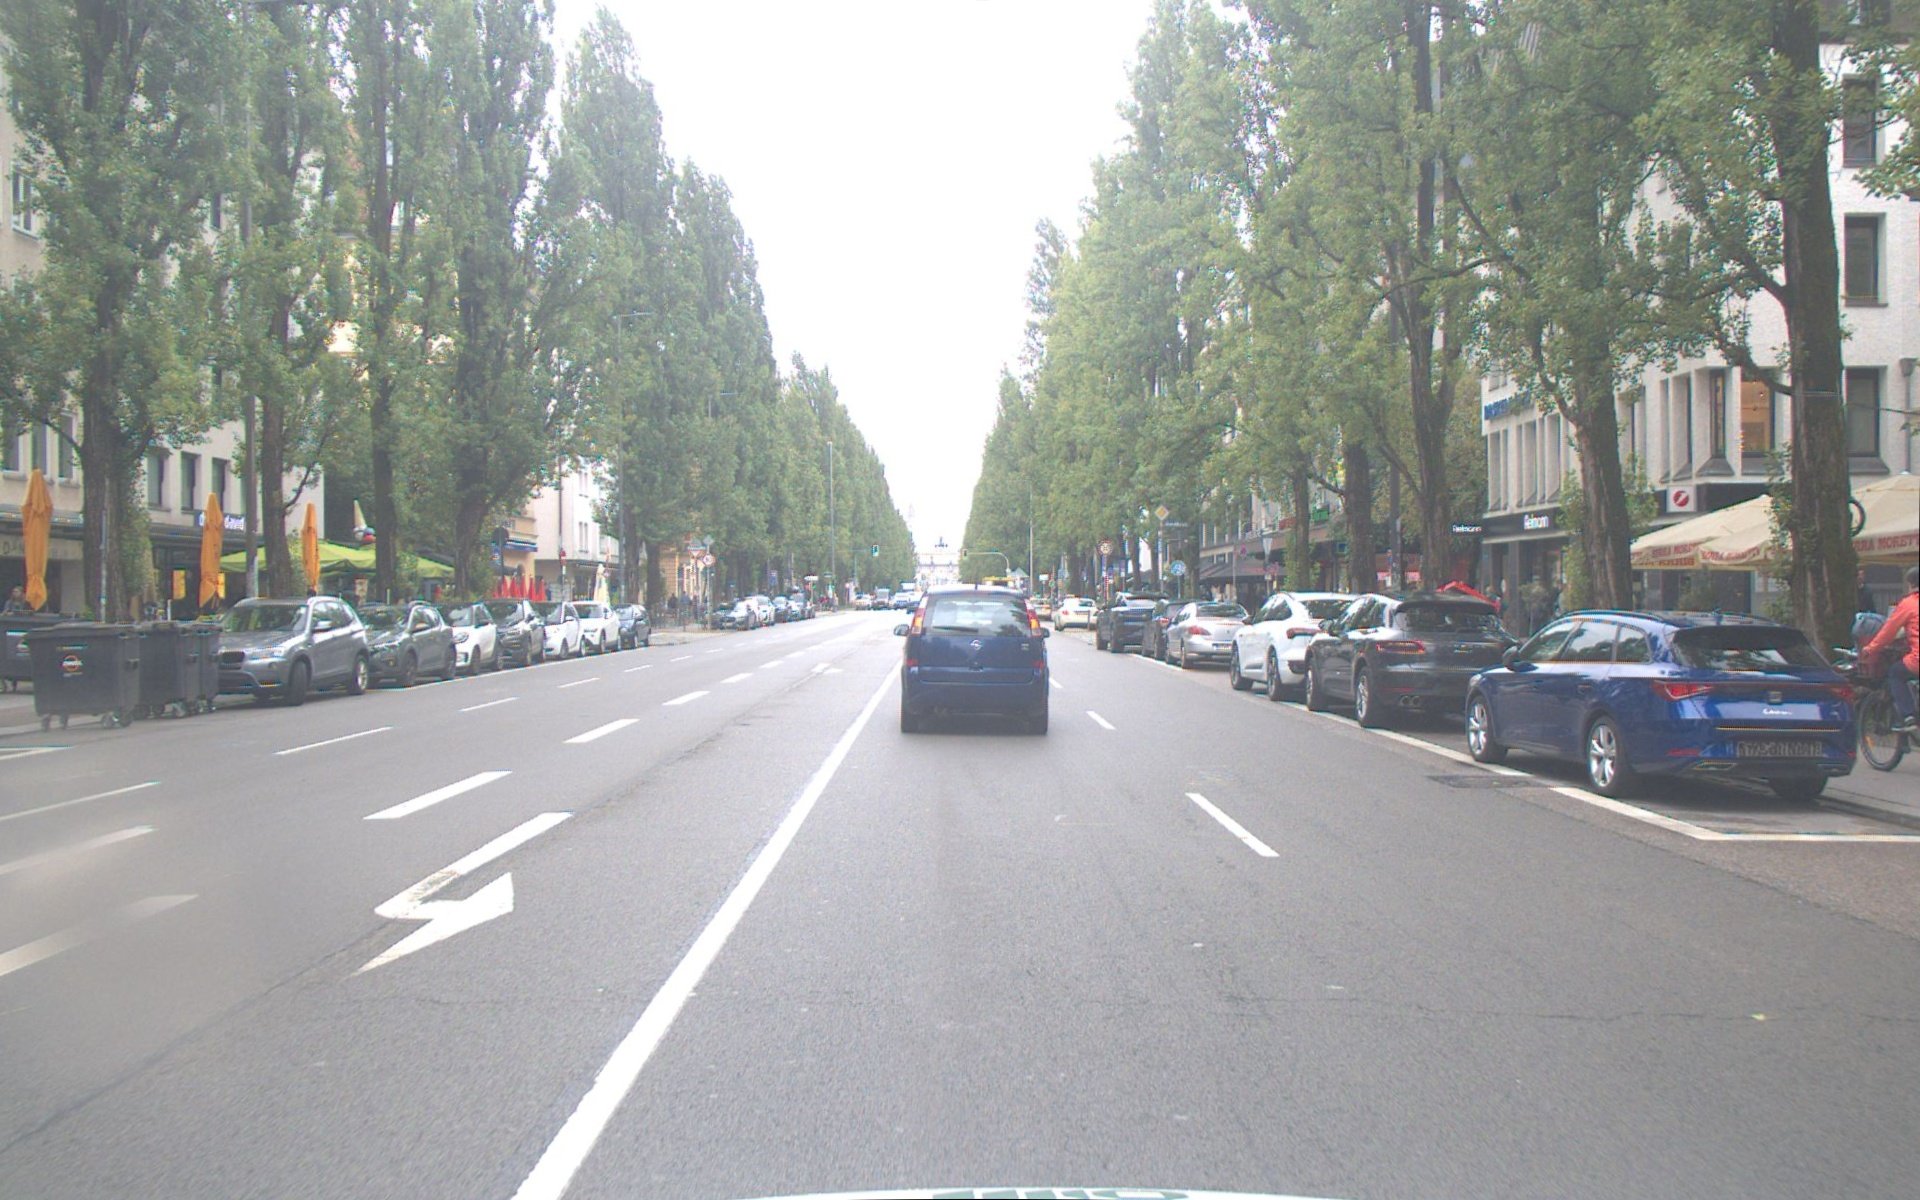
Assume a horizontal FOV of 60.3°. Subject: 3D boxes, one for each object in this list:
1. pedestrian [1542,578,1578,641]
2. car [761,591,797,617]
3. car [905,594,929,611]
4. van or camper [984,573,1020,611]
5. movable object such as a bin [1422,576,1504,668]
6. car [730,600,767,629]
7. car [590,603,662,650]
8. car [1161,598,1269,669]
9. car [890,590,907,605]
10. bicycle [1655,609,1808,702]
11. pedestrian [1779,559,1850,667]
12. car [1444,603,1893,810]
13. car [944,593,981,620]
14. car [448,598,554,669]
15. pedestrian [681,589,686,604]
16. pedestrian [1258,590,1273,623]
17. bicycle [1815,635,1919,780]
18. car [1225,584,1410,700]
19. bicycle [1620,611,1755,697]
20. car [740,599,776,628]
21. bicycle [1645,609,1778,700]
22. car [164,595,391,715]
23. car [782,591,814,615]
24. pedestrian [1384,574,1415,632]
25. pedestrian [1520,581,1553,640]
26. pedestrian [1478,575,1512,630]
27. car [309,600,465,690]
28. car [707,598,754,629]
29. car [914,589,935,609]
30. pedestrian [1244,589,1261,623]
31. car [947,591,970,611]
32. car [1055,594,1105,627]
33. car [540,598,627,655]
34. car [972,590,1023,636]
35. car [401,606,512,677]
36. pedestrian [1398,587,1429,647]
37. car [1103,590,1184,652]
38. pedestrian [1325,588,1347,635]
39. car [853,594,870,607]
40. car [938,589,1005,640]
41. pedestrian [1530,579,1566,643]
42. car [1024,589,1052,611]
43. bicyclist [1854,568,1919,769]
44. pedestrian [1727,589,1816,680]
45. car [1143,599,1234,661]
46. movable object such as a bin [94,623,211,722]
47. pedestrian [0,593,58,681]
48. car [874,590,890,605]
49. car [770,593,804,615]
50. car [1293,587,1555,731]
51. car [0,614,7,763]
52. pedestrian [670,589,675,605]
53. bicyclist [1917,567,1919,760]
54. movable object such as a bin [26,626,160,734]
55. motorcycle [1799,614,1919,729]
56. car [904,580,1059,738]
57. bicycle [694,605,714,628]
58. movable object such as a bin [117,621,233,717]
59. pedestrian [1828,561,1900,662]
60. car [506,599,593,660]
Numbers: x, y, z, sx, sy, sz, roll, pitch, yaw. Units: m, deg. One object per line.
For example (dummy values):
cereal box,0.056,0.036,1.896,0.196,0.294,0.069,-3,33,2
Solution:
pedestrian,16.026,0.258,44.186,0.640,1.655,0.704,-1,0,-4
car,-11.419,0.243,104.344,1.922,1.557,3.998,-1,0,-2
car,-3.647,0.197,140.844,1.922,1.424,3.778,-1,0,-1
van or camper,2.988,-0.556,118.782,2.426,2.626,5.843,-1,0,0
movable object such as a bin,9.849,0.416,32.464,1.012,1.733,1.585,-1,0,-4
car,-11.177,0.750,87.601,1.515,1.478,3.457,-1,0,-1
car,-10.903,0.841,54.150,1.553,1.472,3.391,-1,0,2
car,5.555,0.701,36.478,1.636,1.431,4.126,1,0,-1
car,-6.847,-0.275,184.869,1.798,1.706,3.778,-1,0,-1
bicycle,10.381,0.737,22.271,1.833,1.213,0.575,-1,0,-6
pedestrian,14.741,0.217,28.549,0.714,1.834,0.931,-1,0,0
car,5.751,0.766,14.116,1.715,1.430,4.461,-1,0,-3
car,0.118,0.370,95.192,1.953,1.524,3.999,-1,0,-2
car,-11.162,0.775,40.438,1.805,1.592,4.174,-1,0,-6
pedestrian,-19.440,-0.246,116.466,0.283,1.109,0.258,-1,0,5
pedestrian,14.473,0.295,78.384,0.627,1.553,0.484,-1,0,-1
bicycle,7.926,0.877,13.545,0.614,1.106,2.263,-1,0,-1
car,5.523,0.600,26.161,1.790,1.649,4.746,1,0,-1
bicycle,10.216,0.755,23.231,1.794,1.159,0.370,-1,0,-7
car,-11.298,0.744,92.529,1.620,1.589,3.457,-1,0,-1
bicycle,10.357,0.738,22.793,1.678,1.213,0.420,-1,0,-6
car,-10.986,0.814,27.016,1.827,1.683,4.614,-3,0,-2
car,-11.842,0.193,121.129,1.953,1.691,3.999,-1,0,-1
pedestrian,14.102,0.089,53.081,0.777,1.843,0.682,-1,0,-3
pedestrian,16.351,0.284,46.939,0.640,1.655,0.704,-1,0,-4
pedestrian,16.245,0.067,50.233,0.721,1.655,0.765,1,0,-4
car,-10.930,0.818,31.840,1.663,1.577,4.081,-1,0,-2
car,-11.283,0.659,81.516,1.793,1.445,3.810,-1,0,-1
car,-3.250,-0.092,151.543,1.798,1.792,3.778,-1,0,-1
pedestrian,13.175,0.271,74.506,0.627,1.553,0.484,-1,0,-1
car,-0.182,0.042,145.835,1.922,1.706,3.778,-1,0,-1
car,5.306,0.431,73.538,1.858,1.386,3.899,-1,0,0
car,-11.061,0.758,48.840,1.798,1.573,4.084,-1,0,-3
car,1.332,0.456,60.660,1.671,1.601,3.999,-1,0,-1
car,-11.071,0.889,36.521,1.598,1.453,2.982,-1,0,-2
pedestrian,12.325,0.457,44.970,0.640,1.629,0.704,1,0,0
car,5.115,0.557,46.511,1.761,1.621,4.104,1,0,0
pedestrian,14.307,0.434,62.964,0.640,1.781,0.859,1,0,0
car,-11.980,0.081,201.263,1.922,1.576,3.778,-1,0,-1
car,0.323,0.420,51.594,1.953,1.523,3.999,-1,0,-2
pedestrian,15.304,0.289,43.044,0.640,1.655,0.704,-1,0,-4
car,5.067,-0.015,107.945,1.635,1.376,4.104,-1,0,0
bicyclist,7.917,0.546,13.682,0.609,1.616,0.753,-1,0,-1
pedestrian,11.788,0.495,24.052,0.910,1.289,0.731,-1,0,-2
car,5.608,0.713,40.963,1.648,1.439,3.582,1,0,-1
movable object such as a bin,-11.359,1.007,23.296,1.234,1.340,0.825,-1,0,-2
pedestrian,-19.251,0.739,33.962,0.834,1.775,1.148,0,0,0
car,-9.146,-0.290,193.959,1.798,1.769,3.778,-1,0,-1
car,-11.552,0.233,110.481,1.922,1.424,3.778,-1,0,-1
car,5.708,0.660,20.961,1.953,1.592,4.482,-1,0,-1
car,-10.708,0.957,14.940,1.629,1.530,4.313,-3,0,0
pedestrian,-20.248,-0.210,116.451,0.283,1.109,0.258,-1,0,5
bicyclist,7.936,0.545,12.928,0.609,1.616,0.481,-1,0,-2
movable object such as a bin,-11.191,1.020,21.386,1.251,1.333,0.901,-1,0,-1
motorcycle,10.208,0.760,18.032,1.794,1.200,0.695,-1,0,-7
car,0.177,0.613,19.582,1.647,1.670,3.999,0,0,-2
bicycle,-11.725,0.746,75.803,0.652,1.023,2.460,-1,0,-4
movable object such as a bin,-11.450,1.000,24.152,1.287,1.340,0.819,-1,0,-2
pedestrian,15.598,0.193,28.561,0.714,1.706,0.931,-1,0,0
car,-11.113,0.780,44.918,1.540,1.561,2.923,-1,0,1
